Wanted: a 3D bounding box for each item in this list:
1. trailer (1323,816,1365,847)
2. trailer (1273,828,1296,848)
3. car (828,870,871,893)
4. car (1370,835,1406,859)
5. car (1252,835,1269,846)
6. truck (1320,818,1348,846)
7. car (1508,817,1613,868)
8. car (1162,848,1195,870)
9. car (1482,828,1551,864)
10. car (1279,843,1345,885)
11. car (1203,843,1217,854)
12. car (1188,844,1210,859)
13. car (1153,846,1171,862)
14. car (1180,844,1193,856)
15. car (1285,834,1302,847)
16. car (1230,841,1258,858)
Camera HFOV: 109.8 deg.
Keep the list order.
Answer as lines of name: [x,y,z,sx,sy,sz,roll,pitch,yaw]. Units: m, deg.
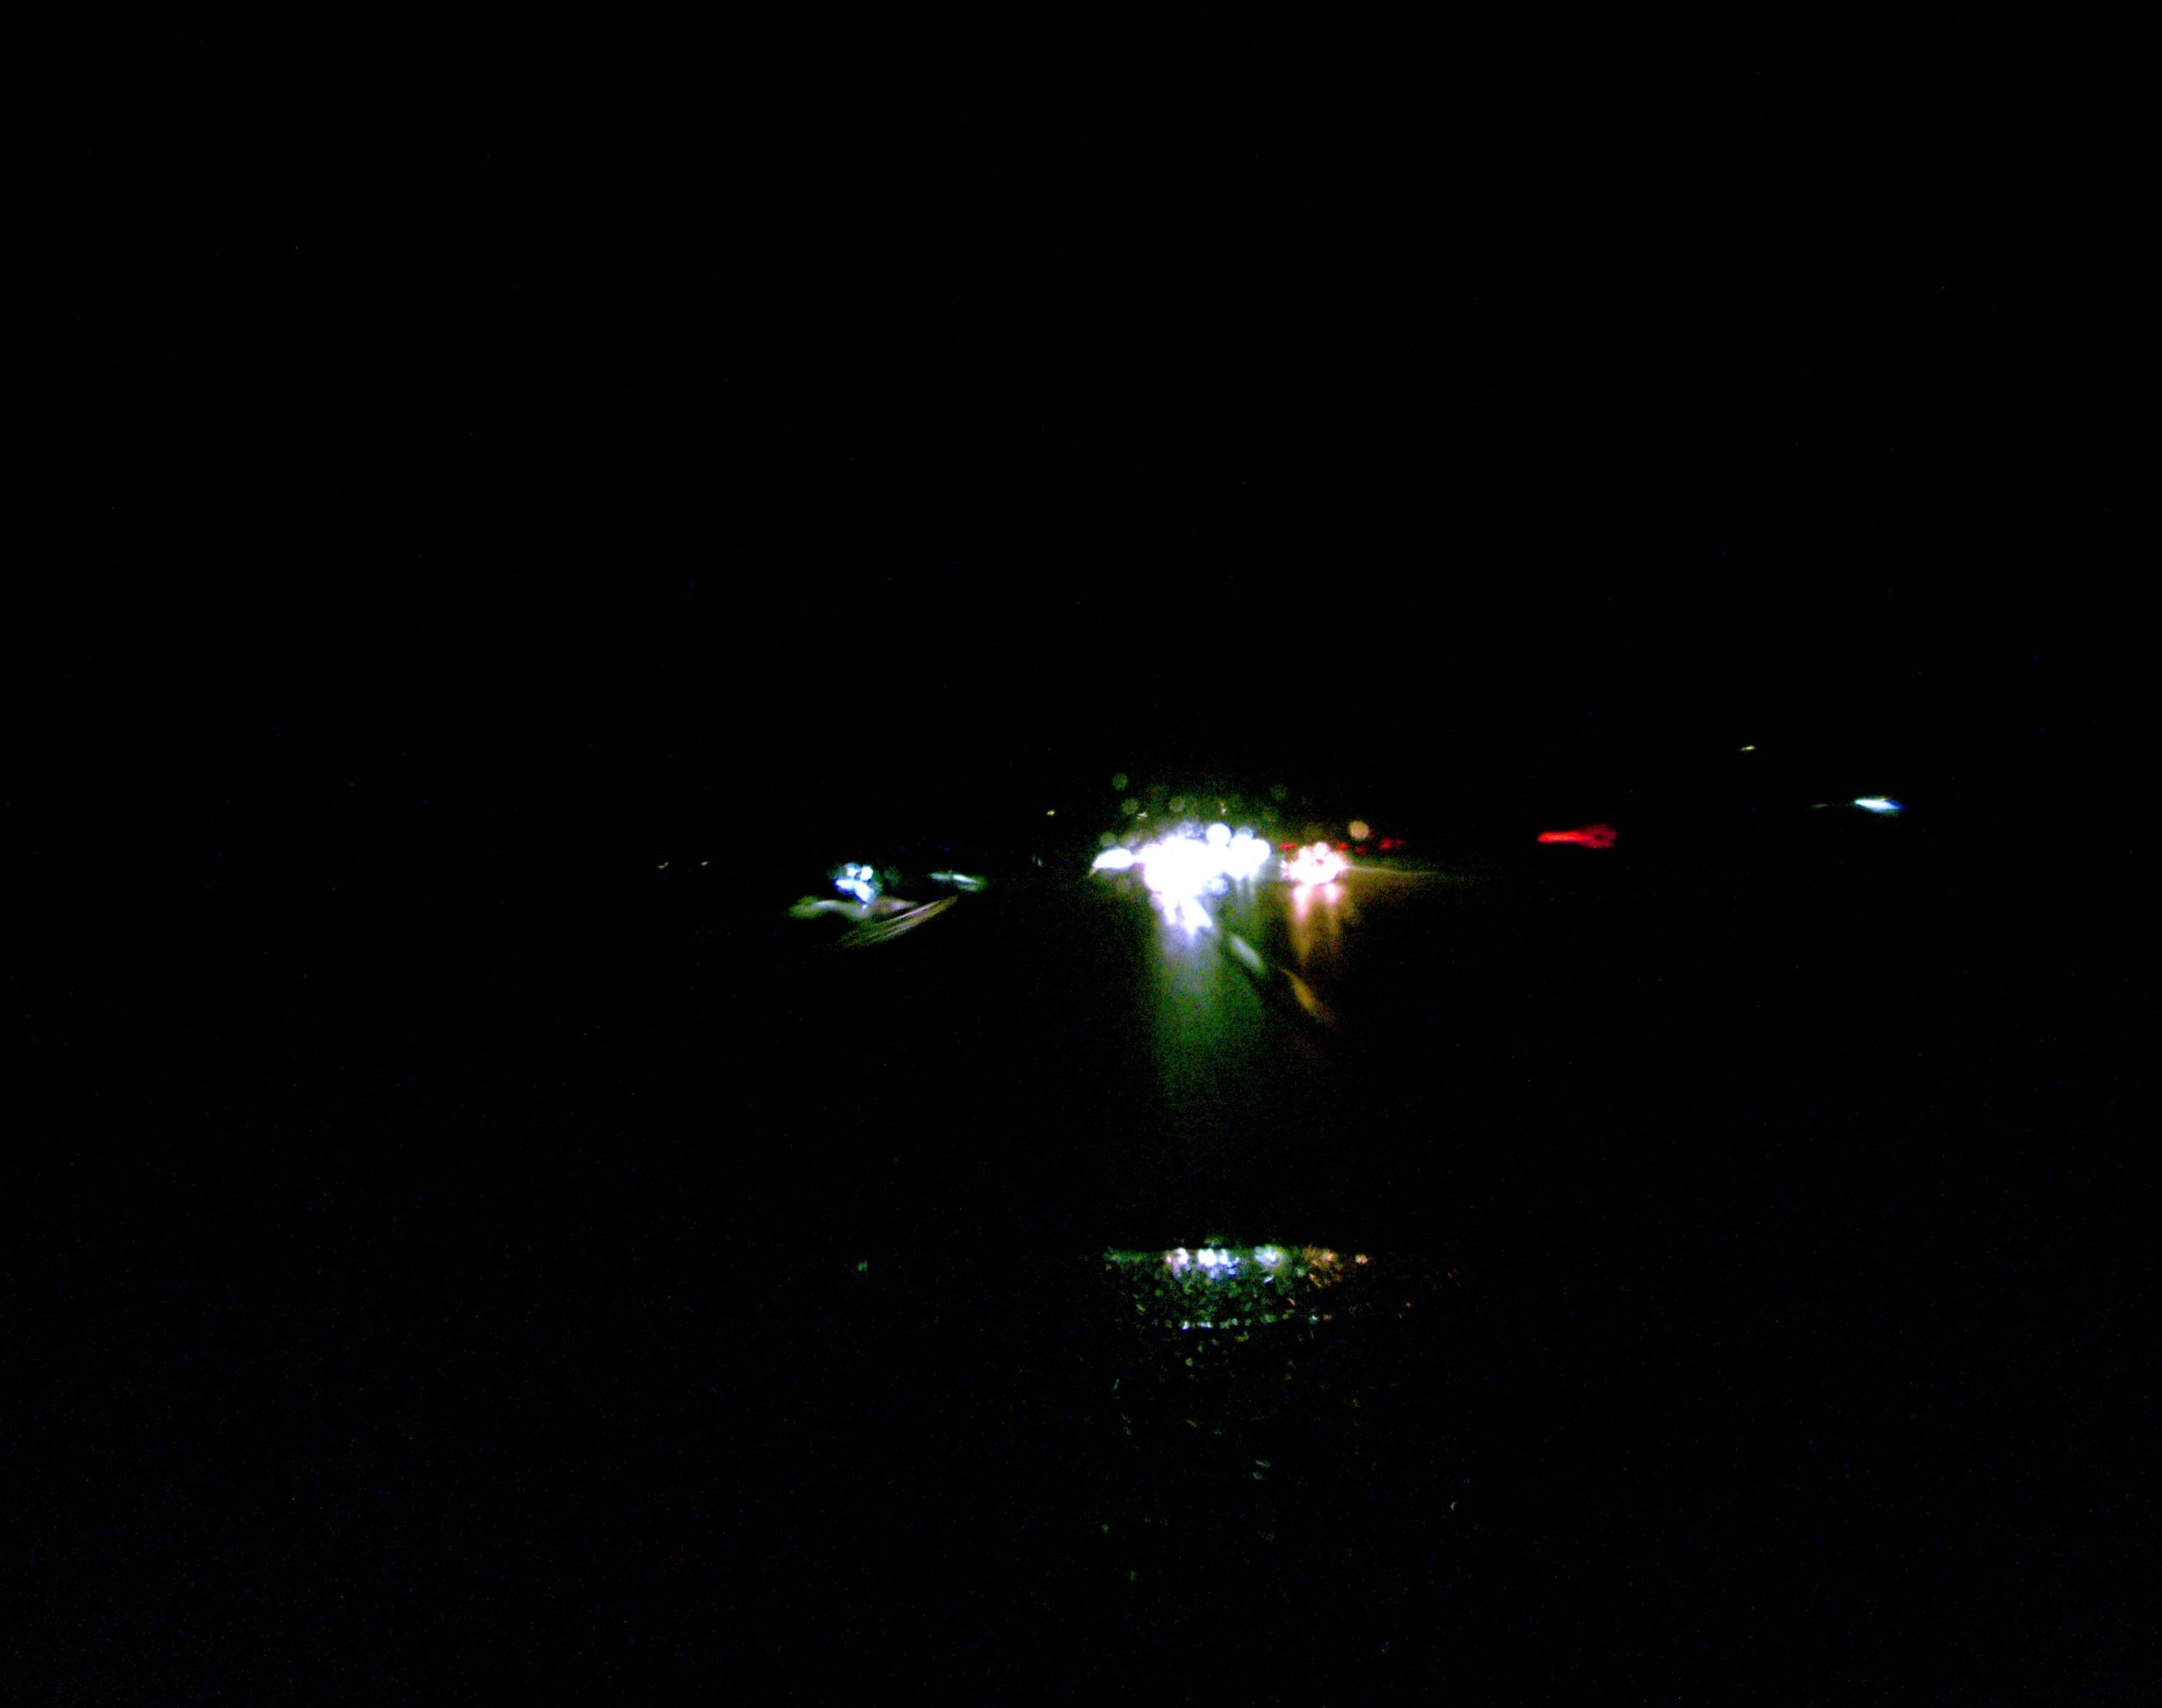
trailer: [36.235,-3.068,105.221,2.657,3.709,13.949,-5,1,9]
trailer: [44.670,-3.561,167.211,2.776,4.006,14.019,-5,1,7]
car: [-20.265,2.423,66.305,2.003,1.737,4.090,-6,1,-40]
car: [28.889,-0.678,71.565,1.998,2.002,4.001,-5,1,6]
car: [31.565,-2.435,133.596,1.998,1.761,4.000,-5,1,4]
truck: [37.243,-3.241,111.875,2.658,3.709,5.706,-5,1,9]
car: [21.862,-0.521,34.917,1.998,2.002,4.567,-5,1,3]
car: [7.494,0.357,58.890,1.921,1.587,3.999,-3,1,0]
car: [27.429,-0.497,48.044,1.998,2.002,4.000,-5,1,1]
car: [9.752,0.380,32.380,1.726,1.587,4.000,-3,1,3]
car: [22.321,-0.971,131.948,1.929,1.783,4.001,-5,1,5]
car: [13.163,-0.316,84.863,1.921,1.587,4.000,-3,1,3]
car: [10.758,-0.025,100.934,1.998,2.002,4.000,-5,1,4]
car: [17.970,-0.650,129.957,1.929,1.783,4.001,-5,1,5]
car: [36.111,-2.332,129.006,1.998,2.002,4.001,-5,1,6]
car: [16.948,-0.506,79.252,1.921,1.587,3.999,-3,1,0]
